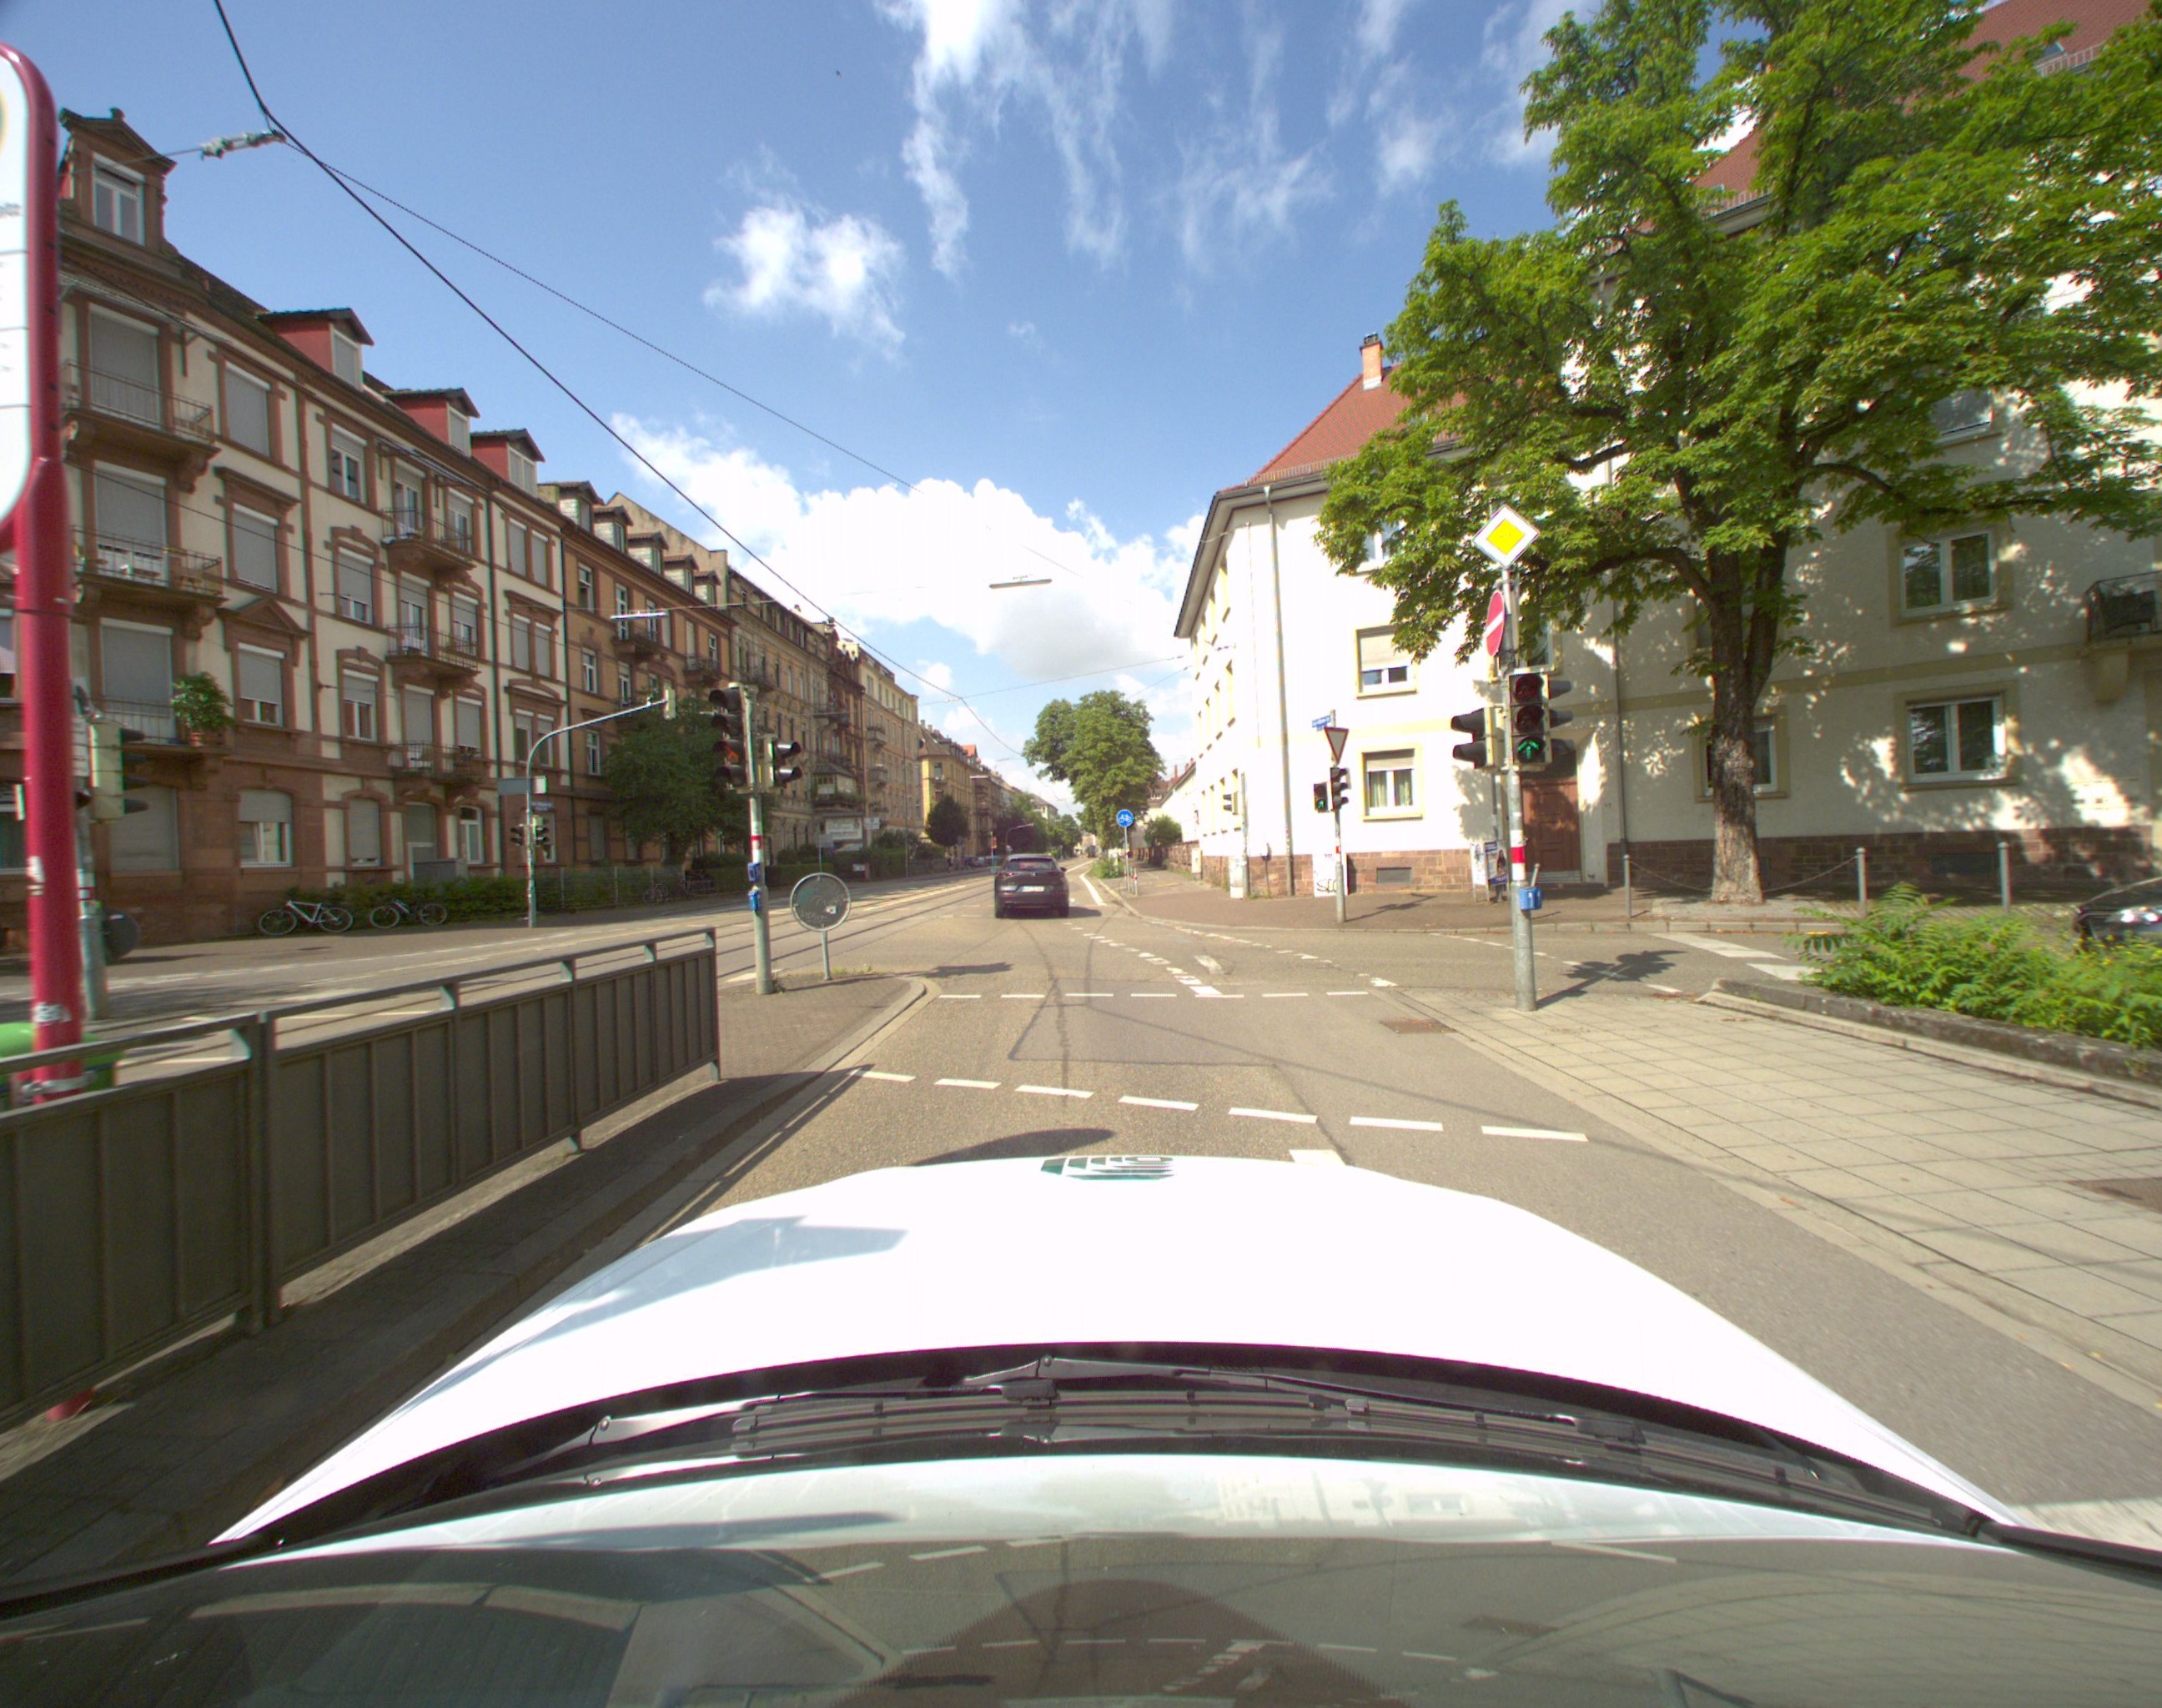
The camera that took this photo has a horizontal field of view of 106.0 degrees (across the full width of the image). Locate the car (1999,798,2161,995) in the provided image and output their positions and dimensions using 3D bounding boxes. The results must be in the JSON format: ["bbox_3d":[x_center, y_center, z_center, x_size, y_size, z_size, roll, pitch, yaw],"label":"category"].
[{"bbox_3d":[10.045,0.262,6.044,4.119,1.509,1.863,-2,2,44],"label":"car"}]

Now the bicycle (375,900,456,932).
[{"bbox_3d":[-18.756,1.733,22.987,0.381,0.747,1.722,-2,0,38],"label":"bicycle"}]

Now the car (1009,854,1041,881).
[{"bbox_3d":[-3.282,0.751,48.207,1.771,1.464,3.838,-1,0,-3],"label":"car"}]

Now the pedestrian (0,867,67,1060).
[{"bbox_3d":[-9.860,0.978,7.248,0.768,1.674,0.668,-3,0,1],"label":"pedestrian"}]

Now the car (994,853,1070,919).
[{"bbox_3d":[-1.338,0.734,20.919,1.780,1.514,3.992,0,0,-6],"label":"car"}]

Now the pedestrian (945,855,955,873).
[{"bbox_3d":[-12.644,0.949,78.495,0.784,1.688,0.733,-2,0,4],"label":"pedestrian"}]

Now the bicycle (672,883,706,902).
[{"bbox_3d":[-16.087,1.577,33.468,0.383,0.677,1.714,-2,0,7],"label":"bicycle"}]

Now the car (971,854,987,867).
[{"bbox_3d":[-14.081,0.906,112.596,1.651,1.596,3.931,-3,0,2],"label":"car"}]

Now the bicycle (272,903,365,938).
[{"bbox_3d":[-19.987,1.738,21.388,0.381,0.747,1.722,-2,0,38],"label":"bicycle"}]

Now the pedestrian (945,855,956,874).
[{"bbox_3d":[-11.932,0.957,74.613,0.784,1.688,0.733,-2,0,4],"label":"pedestrian"}]

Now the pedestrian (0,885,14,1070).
[{"bbox_3d":[-9.414,1.052,6.616,0.665,1.546,0.581,-2,0,1],"label":"pedestrian"}]

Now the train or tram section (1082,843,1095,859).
[{"bbox_3d":[2.126,-0.807,224.975,2.986,3.983,13.815,-2,-1,2],"label":"train or tram section"}]

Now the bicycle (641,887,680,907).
[{"bbox_3d":[-16.124,1.627,31.260,0.383,0.653,1.714,-2,0,7],"label":"bicycle"}]
